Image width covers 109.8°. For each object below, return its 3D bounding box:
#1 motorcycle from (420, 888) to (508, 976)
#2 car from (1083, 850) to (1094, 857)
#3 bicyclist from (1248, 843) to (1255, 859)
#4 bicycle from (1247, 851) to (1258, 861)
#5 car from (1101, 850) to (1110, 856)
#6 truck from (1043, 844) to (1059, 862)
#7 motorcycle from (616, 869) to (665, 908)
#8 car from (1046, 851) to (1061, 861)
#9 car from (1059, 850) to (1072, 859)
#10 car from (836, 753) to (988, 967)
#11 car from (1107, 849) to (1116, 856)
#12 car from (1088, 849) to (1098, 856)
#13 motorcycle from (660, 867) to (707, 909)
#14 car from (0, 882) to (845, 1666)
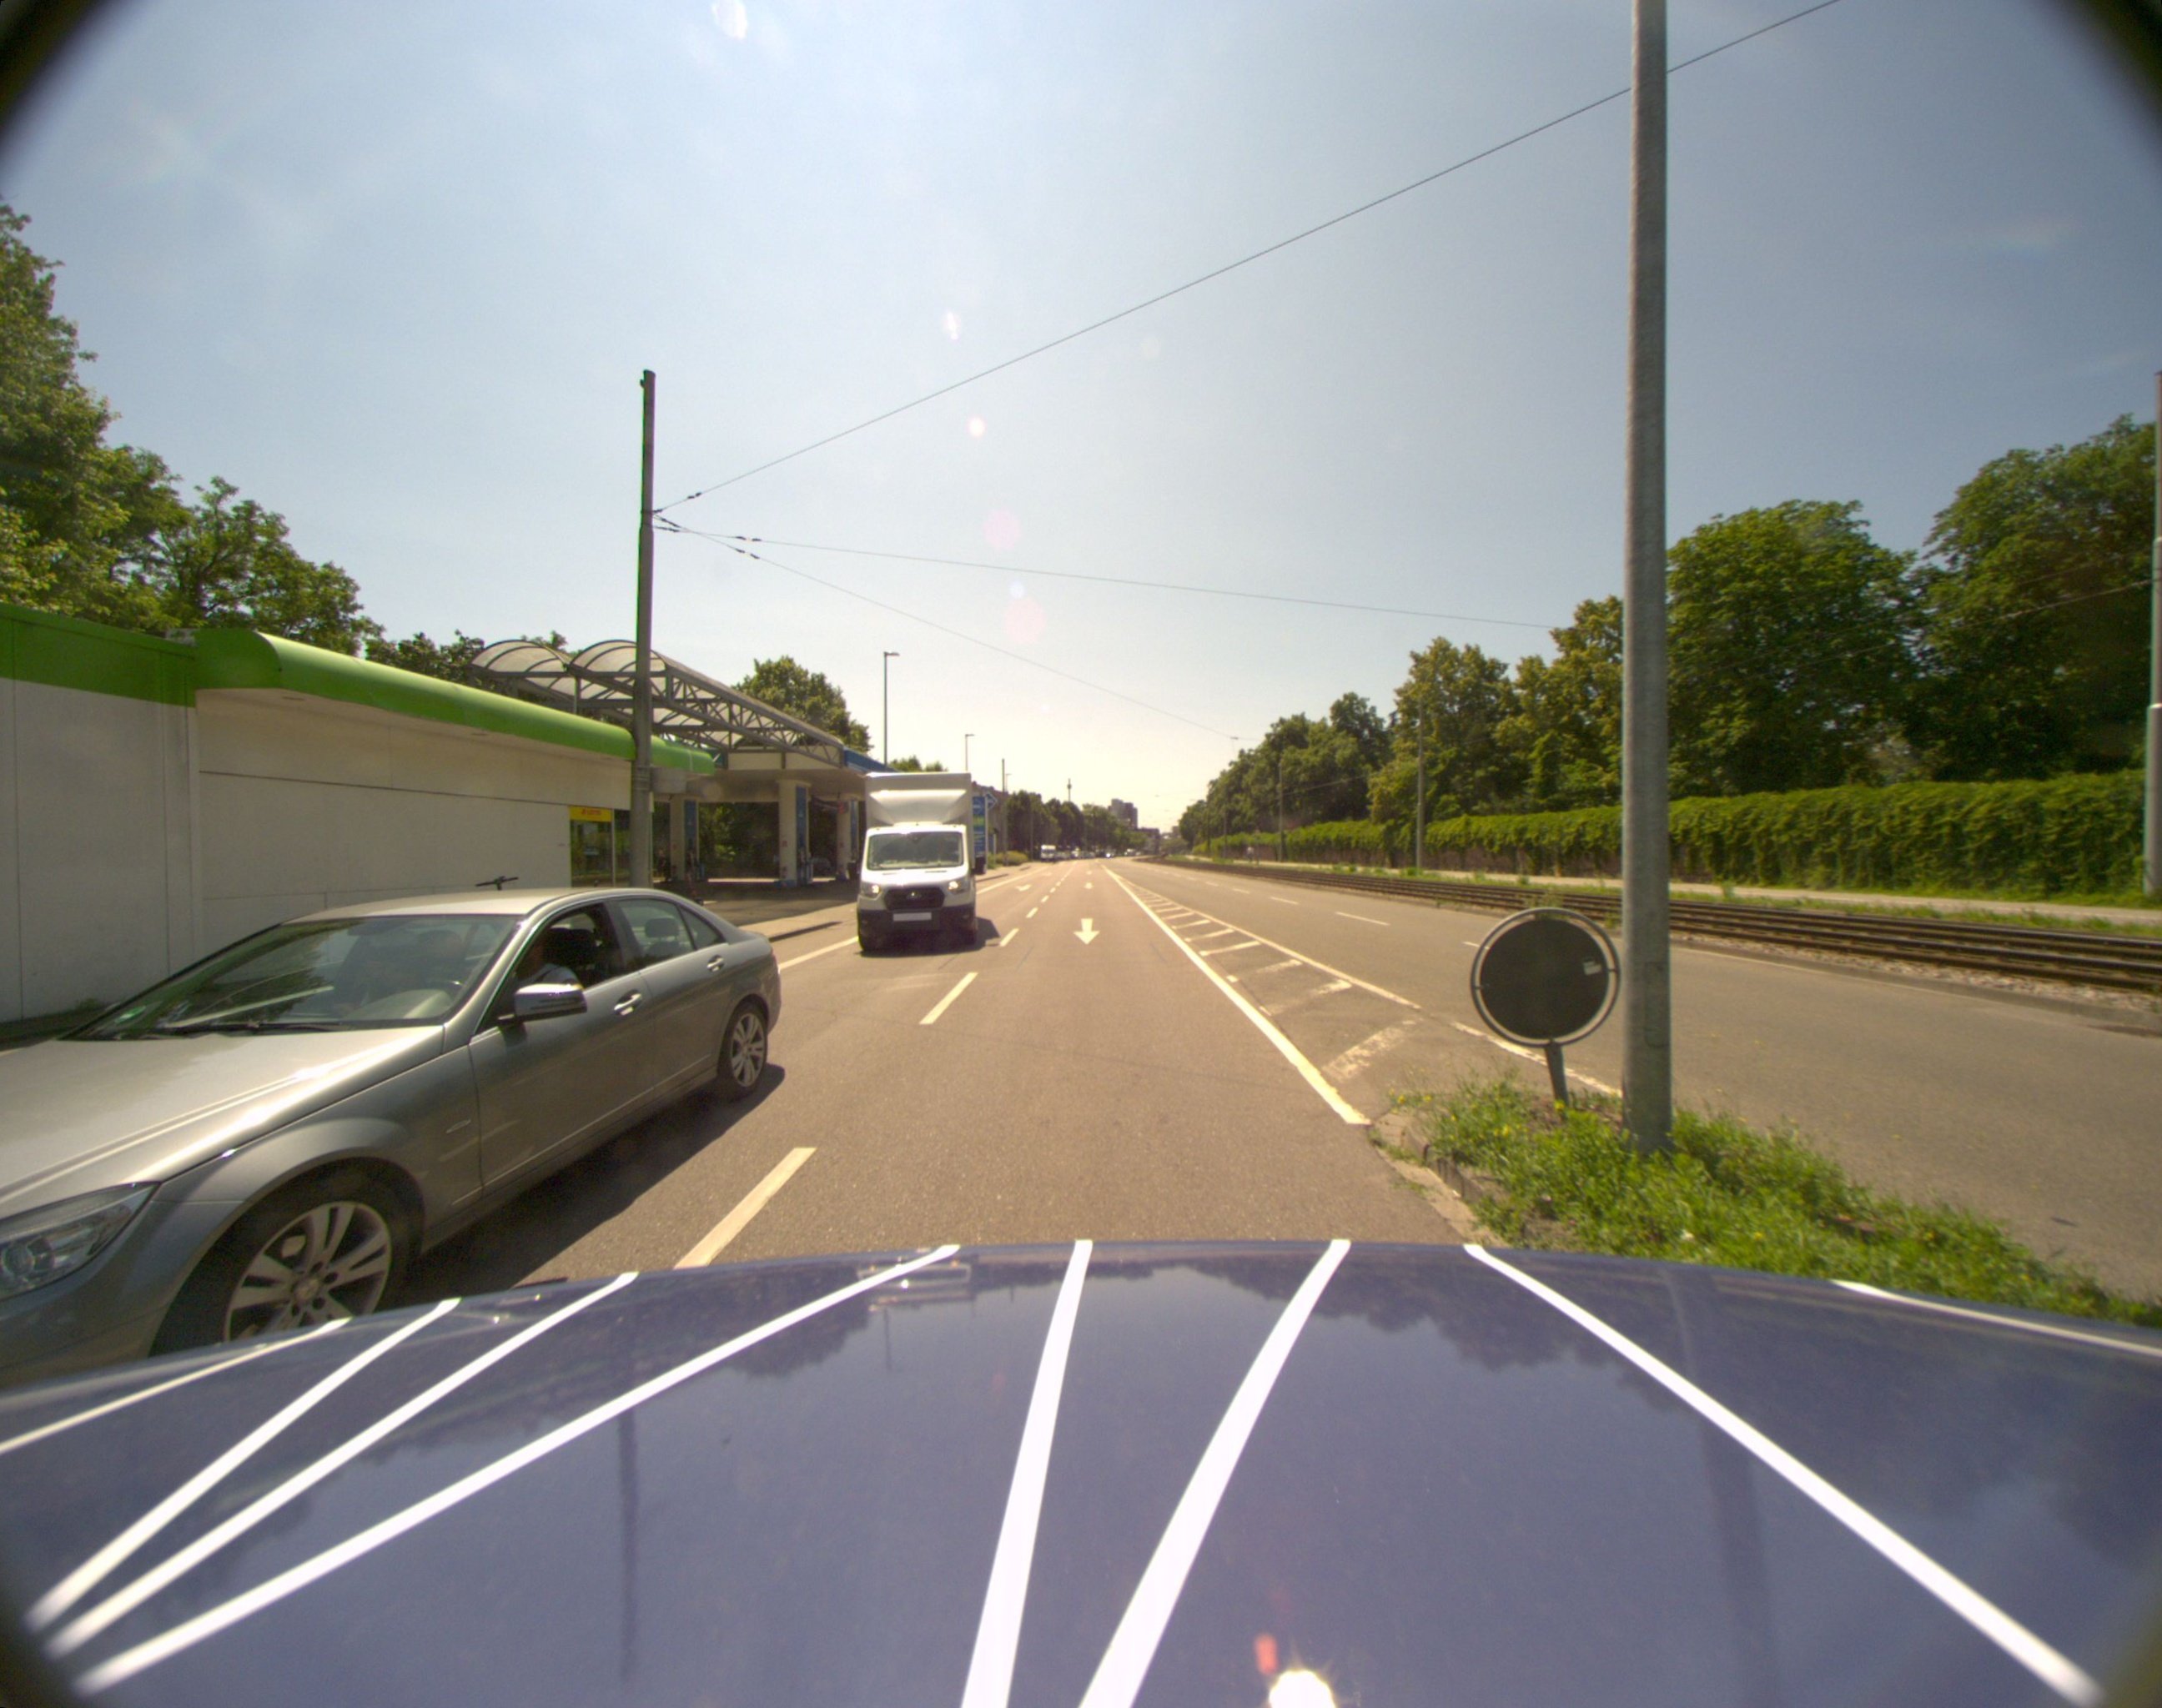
[{"bbox_3d":[-8.653,1.063,10.695,0.253,1.099,1.117,5,1,1],"label":"motorcycle"},{"bbox_3d":[1.805,-0.225,180.063,1.911,1.488,4.002,-2,1,10],"label":"car"},{"bbox_3d":[17.865,-0.319,79.558,0.483,1.603,0.768,-2,1,-2],"label":"bicyclist"},{"bbox_3d":[17.917,0.201,79.568,0.618,1.049,1.977,-2,1,-1],"label":"bicycle"},{"bbox_3d":[6.690,-0.398,211.082,1.911,1.488,4.002,-2,1,10],"label":"car"},{"bbox_3d":[-4.282,-0.133,109.393,1.998,2.462,5.236,-2,1,1],"label":"truck"},{"bbox_3d":[-12.908,1.014,22.288,1.157,1.107,0.396,1,0,-1],"label":"motorcycle"},{"bbox_3d":[-4.163,0.307,117.008,1.912,1.488,4.000,-2,1,4],"label":"car"},{"bbox_3d":[-2.658,0.146,134.463,1.912,1.488,4.000,-2,1,4],"label":"car"},{"bbox_3d":[-3.385,0.053,16.426,2.231,3.316,8.628,-3,1,-9],"label":"car"},{"bbox_3d":[7.485,-0.414,185.546,1.946,1.674,4.001,-2,1,7],"label":"car"},{"bbox_3d":[2.958,-0.348,185.617,1.911,1.488,4.002,-2,1,10],"label":"car"},{"bbox_3d":[-11.662,1.003,22.310,1.157,1.203,0.364,1,0,-1],"label":"motorcycle"},{"bbox_3d":[-3.060,1.019,3.968,1.717,1.464,5.302,-2,0,3],"label":"car"}]
